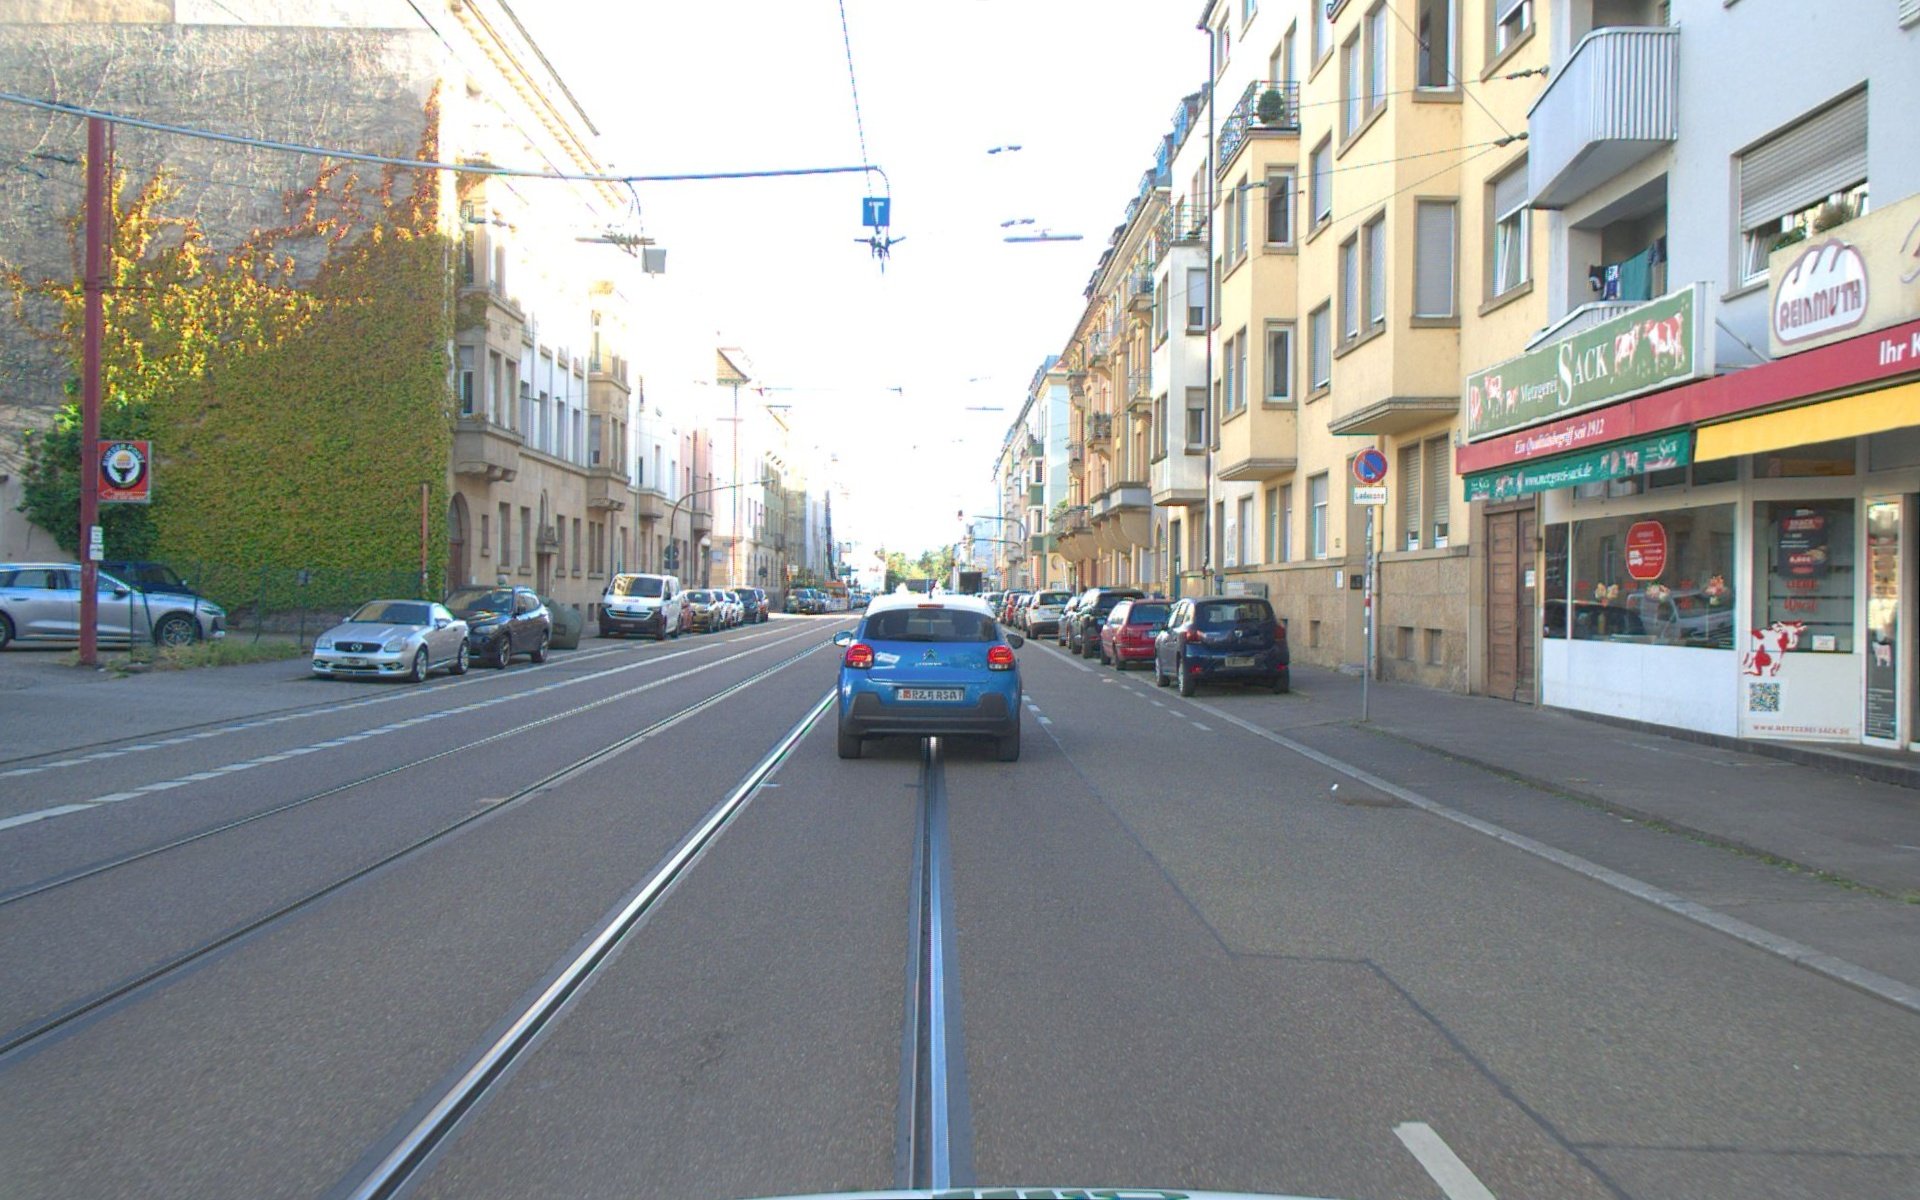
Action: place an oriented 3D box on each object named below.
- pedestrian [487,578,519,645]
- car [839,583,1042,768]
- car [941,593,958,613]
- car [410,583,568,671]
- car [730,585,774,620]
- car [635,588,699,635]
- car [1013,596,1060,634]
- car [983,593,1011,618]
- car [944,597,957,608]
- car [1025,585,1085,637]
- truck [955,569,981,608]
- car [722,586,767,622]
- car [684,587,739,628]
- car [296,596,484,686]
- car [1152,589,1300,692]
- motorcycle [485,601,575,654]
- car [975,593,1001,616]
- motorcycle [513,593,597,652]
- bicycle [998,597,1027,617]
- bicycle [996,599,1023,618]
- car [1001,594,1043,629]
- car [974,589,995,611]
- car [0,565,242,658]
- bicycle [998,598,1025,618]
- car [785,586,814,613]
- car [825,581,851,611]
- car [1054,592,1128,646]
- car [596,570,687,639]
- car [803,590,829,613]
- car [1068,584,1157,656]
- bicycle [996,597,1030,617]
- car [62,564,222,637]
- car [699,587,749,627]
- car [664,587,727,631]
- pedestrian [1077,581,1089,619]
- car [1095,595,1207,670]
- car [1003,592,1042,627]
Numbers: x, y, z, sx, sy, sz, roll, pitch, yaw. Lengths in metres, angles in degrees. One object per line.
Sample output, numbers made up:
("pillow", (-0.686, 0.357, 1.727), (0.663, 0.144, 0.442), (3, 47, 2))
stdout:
("pedestrian", (-12.173, 0.300, 44.084), (0.666, 1.754, 0.616), (1, 0, -1))
("car", (-0.190, 0.642, 16.254), (1.700, 1.533, 3.992), (2, 0, -1))
("car", (-1.099, 0.302, 171.853), (1.784, 1.927, 3.999), (1, 0, -1))
("car", (-9.446, 0.500, 33.545), (1.746, 1.592, 4.611), (2, 0, 1))
("car", (-10.308, 0.093, 82.233), (1.748, 1.634, 4.395), (2, 0, -3))
("car", (-10.084, 0.373, 57.202), (1.570, 1.498, 3.645), (2, 0, -1))
("car", (3.210, 0.609, 69.904), (1.621, 1.509, 4.472), (0, 0, -2))
("car", (2.516, 0.378, 113.178), (1.747, 1.660, 3.999), (0, 0, -1))
("car", (-1.257, 0.327, 217.121), (1.729, 1.513, 4.031), (0, 0, -1))
("car", (3.292, 0.364, 58.171), (1.805, 1.720, 4.504), (0, 0, -1))
("truck", (0.905, -1.258, 184.112), (2.794, 4.154, 11.270), (0, 0, 0))
("car", (-10.150, 0.172, 78.086), (1.747, 1.580, 3.018), (2, 0, -1))
("car", (-10.044, 0.283, 67.075), (1.736, 1.574, 4.363), (2, 0, -3))
("car", (-9.565, 0.636, 28.125), (1.747, 1.337, 4.220), (2, 0, -1))
("car", (4.215, 0.597, 26.761), (1.683, 1.517, 4.001), (-1, 0, -1))
("motorcycle", (-9.947, 0.623, 38.333), (0.725, 1.191, 2.176), (1, 0, 29))
("car", (1.991, 0.300, 119.070), (1.747, 1.603, 4.325), (0, 0, -1))
("motorcycle", (-9.827, 0.532, 40.194), (0.867, 1.375, 1.953), (1, 0, 31))
("bicycle", (3.343, 0.451, 105.985), (1.805, 1.174, 0.469), (-3, 0, -1))
("bicycle", (3.281, 0.544, 109.842), (1.688, 1.174, 0.469), (-3, 0, -1))
("car", (2.779, 0.494, 74.820), (1.620, 1.539, 4.473), (0, 0, -1))
("car", (2.062, 0.005, 142.204), (1.695, 1.859, 4.686), (0, 0, -1))
("car", (-15.250, 0.190, 28.866), (4.740, 1.544, 1.976), (0, 0, -35))
("bicycle", (3.343, 0.506, 107.223), (1.688, 1.174, 0.469), (-3, 0, -1))
("car", (-10.935, -0.044, 112.966), (1.748, 1.720, 4.665), (2, 0, -3))
("car", (-10.922, -0.353, 147.945), (2.102, 2.518, 4.977), (2, 0, -3))
("car", (3.732, 0.519, 47.686), (1.702, 1.467, 4.031), (0, 0, -2))
("car", (-9.902, 0.121, 51.860), (1.933, 1.983, 5.250), (2, 0, -2))
("car", (-10.830, 0.096, 124.602), (1.748, 1.655, 4.606), (2, 0, -3))
("car", (3.749, 0.470, 41.324), (1.821, 1.695, 4.561), (0, 0, 0))
("bicycle", (3.374, 0.454, 105.290), (2.044, 1.174, 0.848), (-3, 0, -1))
("car", (-18.510, 0.001, 37.618), (1.716, 1.552, 3.908), (1, 0, -1))
("car", (-10.292, 0.275, 72.389), (1.748, 1.650, 4.177), (2, 0, -3))
("car", (-9.844, 0.312, 61.840), (1.747, 1.550, 4.358), (2, 0, -2))
("pedestrian", (5.458, 0.003, 73.496), (0.502, 1.716, 0.448), (0, 0, -2))
("car", (3.961, 0.630, 35.030), (1.821, 1.481, 4.709), (0, 0, 0))
("car", (2.973, 0.424, 79.408), (1.717, 1.622, 3.729), (0, 0, 0))
